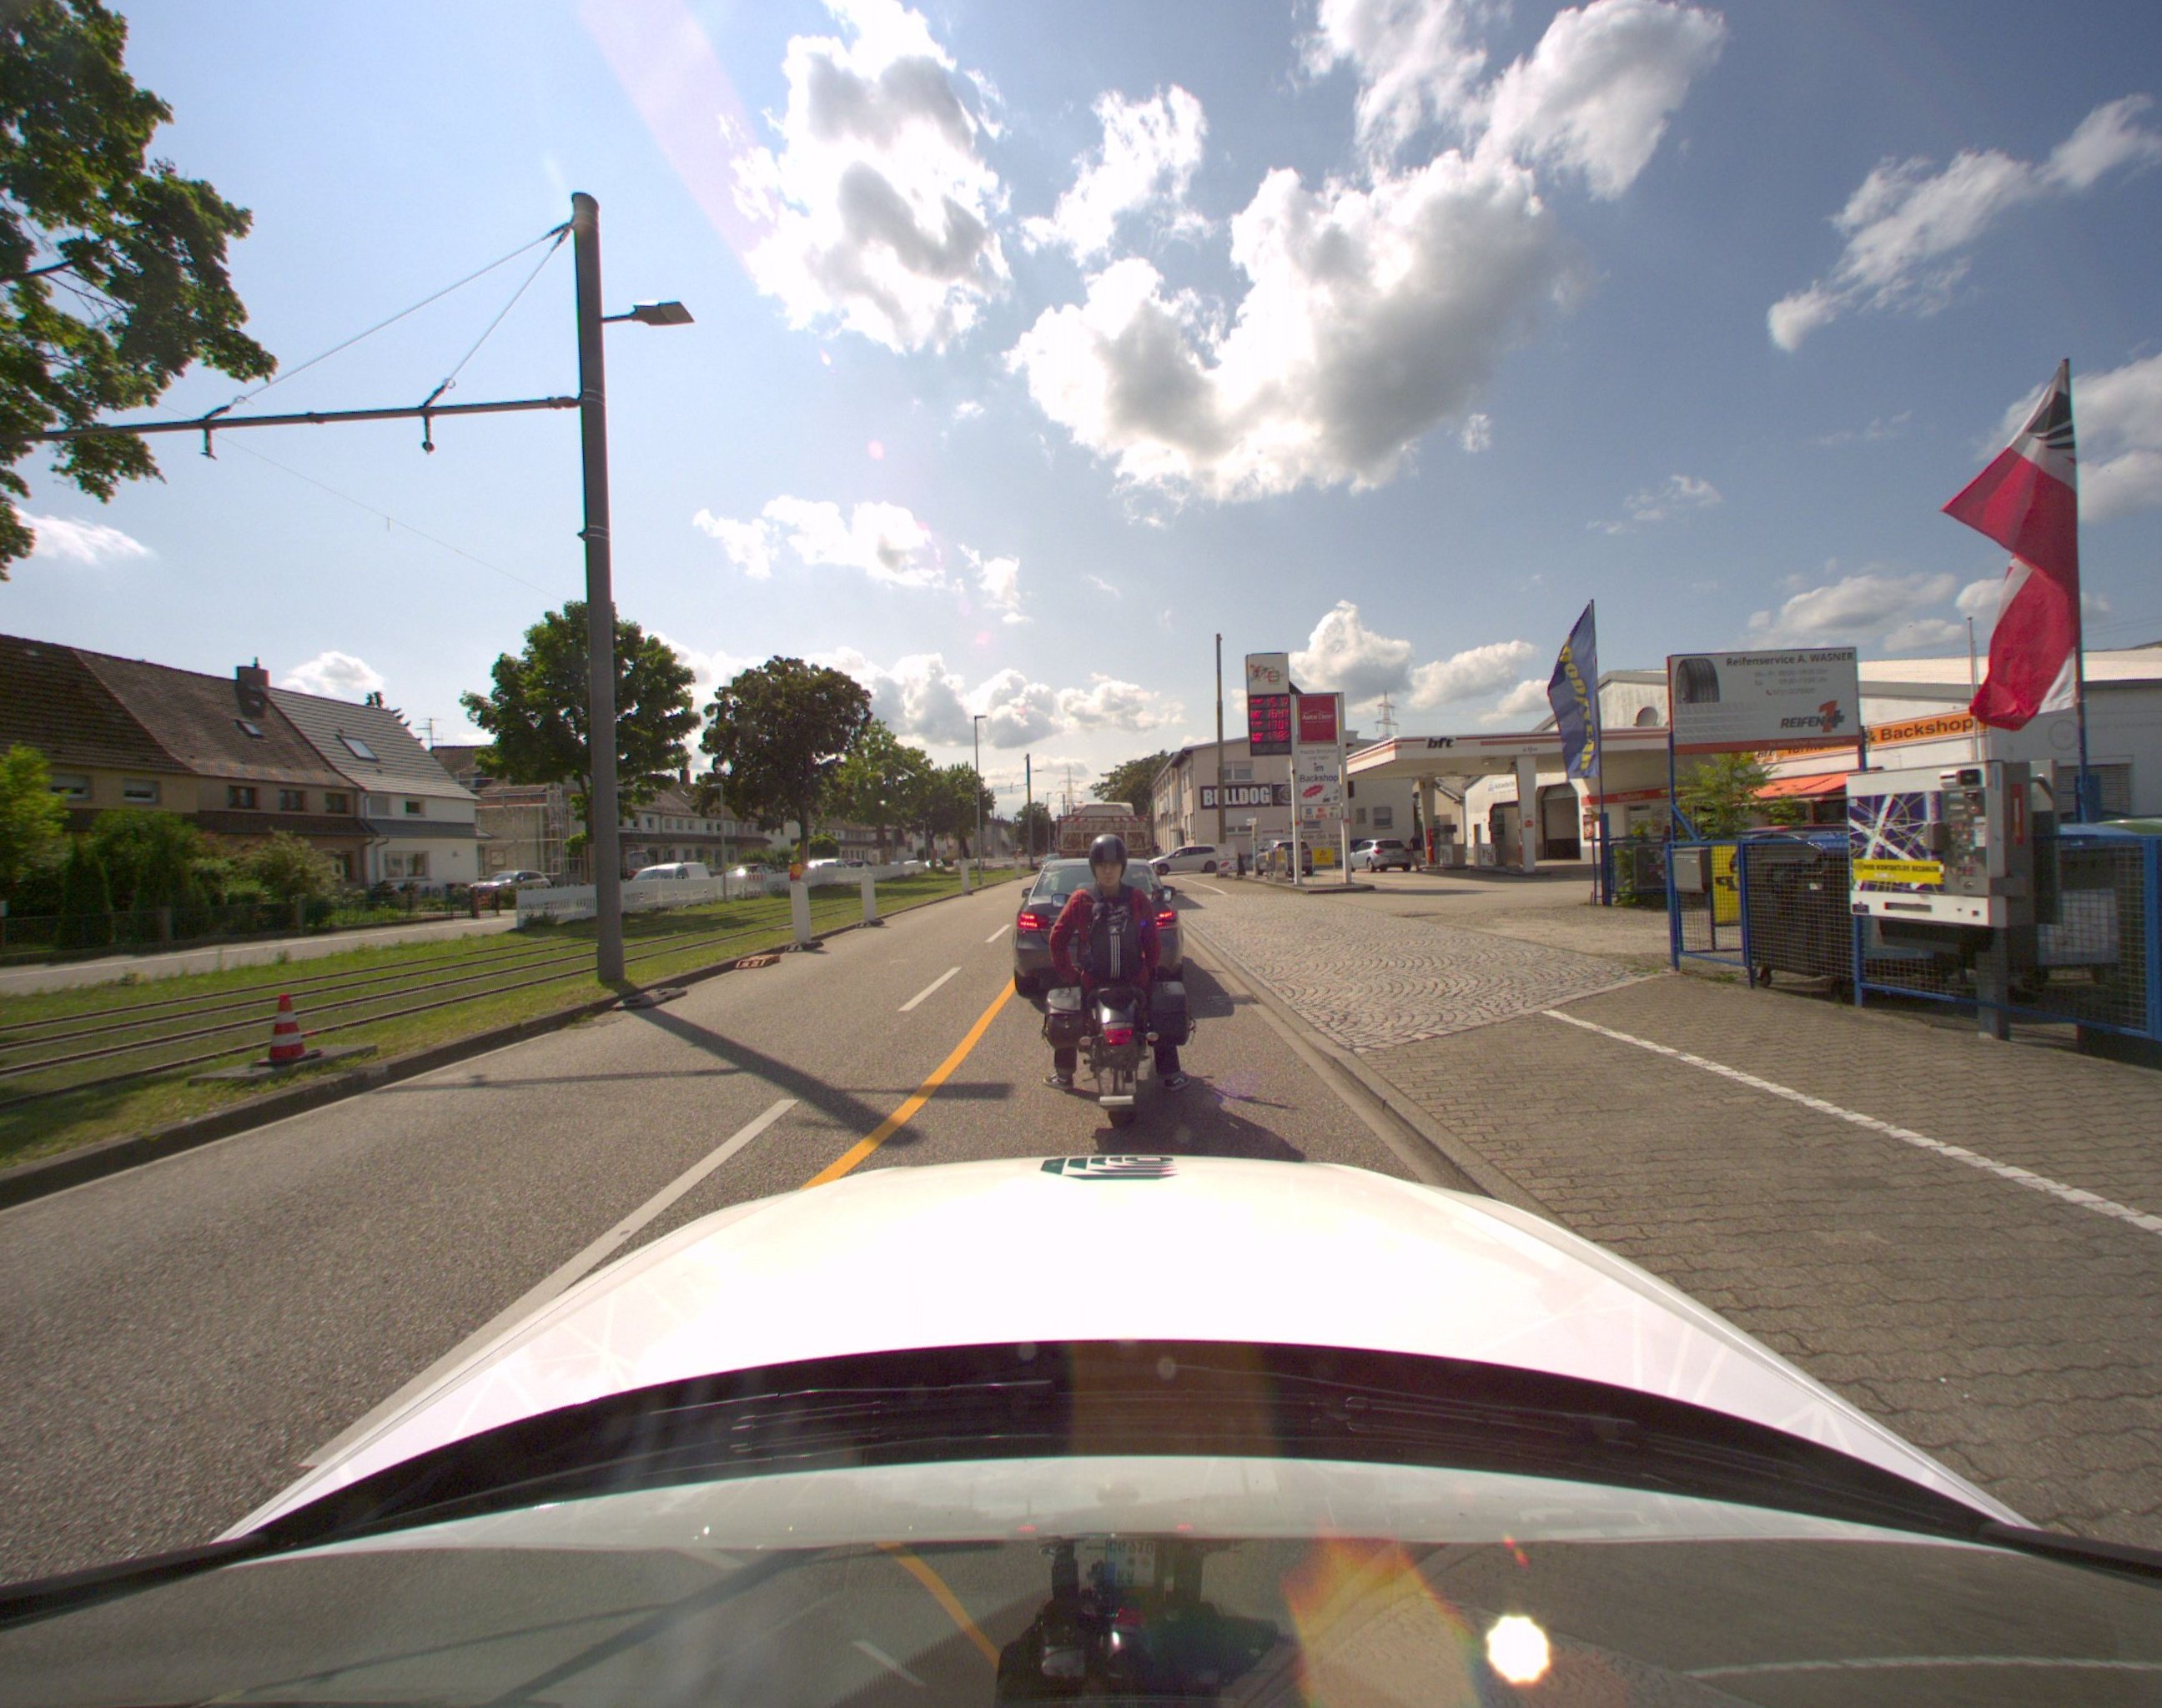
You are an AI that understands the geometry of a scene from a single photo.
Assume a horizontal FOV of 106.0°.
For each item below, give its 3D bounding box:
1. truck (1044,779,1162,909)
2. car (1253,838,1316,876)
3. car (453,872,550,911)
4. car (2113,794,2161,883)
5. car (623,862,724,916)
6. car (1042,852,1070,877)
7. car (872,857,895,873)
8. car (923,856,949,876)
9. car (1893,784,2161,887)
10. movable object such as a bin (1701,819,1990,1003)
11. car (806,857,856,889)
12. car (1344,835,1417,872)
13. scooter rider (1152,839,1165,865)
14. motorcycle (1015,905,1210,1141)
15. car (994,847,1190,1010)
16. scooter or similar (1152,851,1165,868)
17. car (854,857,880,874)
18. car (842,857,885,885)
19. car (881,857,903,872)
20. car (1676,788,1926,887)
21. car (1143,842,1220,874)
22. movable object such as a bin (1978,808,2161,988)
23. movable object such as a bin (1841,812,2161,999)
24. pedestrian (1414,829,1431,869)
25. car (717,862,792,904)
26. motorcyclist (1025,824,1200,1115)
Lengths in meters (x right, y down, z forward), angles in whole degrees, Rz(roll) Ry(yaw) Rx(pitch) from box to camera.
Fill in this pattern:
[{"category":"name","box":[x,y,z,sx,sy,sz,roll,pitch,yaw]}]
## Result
[{"category":"truck","box":[0.642,-0.286,25.606,2.960,3.304,8.407,-2,0,1]},{"category":"car","box":[9.068,0.118,36.578,1.826,1.536,4.009,-3,0,1]},{"category":"car","box":[-27.479,1.726,38.793,1.692,1.593,3.862,-2,0,2]},{"category":"car","box":[26.353,-0.437,18.188,3.972,2.013,2.001,-2,0,1]},{"category":"car","box":[-15.418,1.273,31.057,1.692,1.817,3.862,-2,0,2]},{"category":"car","box":[-1.750,0.714,57.433,1.674,1.624,4.120,-2,0,1]},{"category":"car","box":[-24.051,1.332,99.342,1.692,1.739,4.064,-2,0,2]},{"category":"car","box":[-14.145,1.148,79.602,1.692,1.739,3.862,-2,0,2]},{"category":"car","box":[21.250,-0.404,18.272,3.972,2.013,2.001,-2,0,1]},{"category":"movable object such as a bin","box":[6.826,0.466,7.406,1.222,1.454,1.455,-2,0,0]},{"category":"car","box":[-15.103,1.108,49.393,1.692,1.739,3.862,-2,0,2]},{"category":"car","box":[13.538,-0.027,37.071,1.826,1.479,4.009,-3,0,1]},{"category":"scooter rider","box":[5.611,-0.129,59.026,0.792,1.818,0.508,-2,0,1]},{"category":"motorcycle","box":[0.196,0.928,5.315,0.972,1.013,2.433,-1,0,2]},{"category":"car","box":[0.134,0.710,9.852,1.826,1.479,4.009,-3,0,1]},{"category":"scooter or similar","box":[5.632,0.385,59.028,0.792,1.144,1.520,-2,0,2]},{"category":"car","box":[-24.466,1.297,93.139,1.692,1.739,4.064,-2,0,2]},{"category":"car","box":[-14.868,1.136,55.759,1.692,1.739,3.862,-2,0,2]},{"category":"car","box":[-24.381,1.340,105.366,1.692,1.739,4.064,-2,0,2]},{"category":"car","box":[16.602,-0.375,18.964,3.972,2.013,2.001,-2,0,1]},{"category":"car","box":[5.765,0.224,47.051,4.101,1.624,1.682,-3,0,-7]},{"category":"movable object such as a bin","box":[9.450,0.331,7.192,1.425,1.454,1.455,-2,0,0]},{"category":"movable object such as a bin","box":[8.105,0.412,7.282,1.222,1.454,1.455,-2,0,0]},{"category":"pedestrian","box":[14.842,-0.213,35.390,0.628,1.683,0.626,-2,0,23]},{"category":"car","box":[-15.325,1.320,38.488,1.692,1.739,4.056,-2,0,2]},{"category":"motorcyclist","box":[0.195,0.649,5.197,0.966,1.633,1.215,-1,0,1]}]
